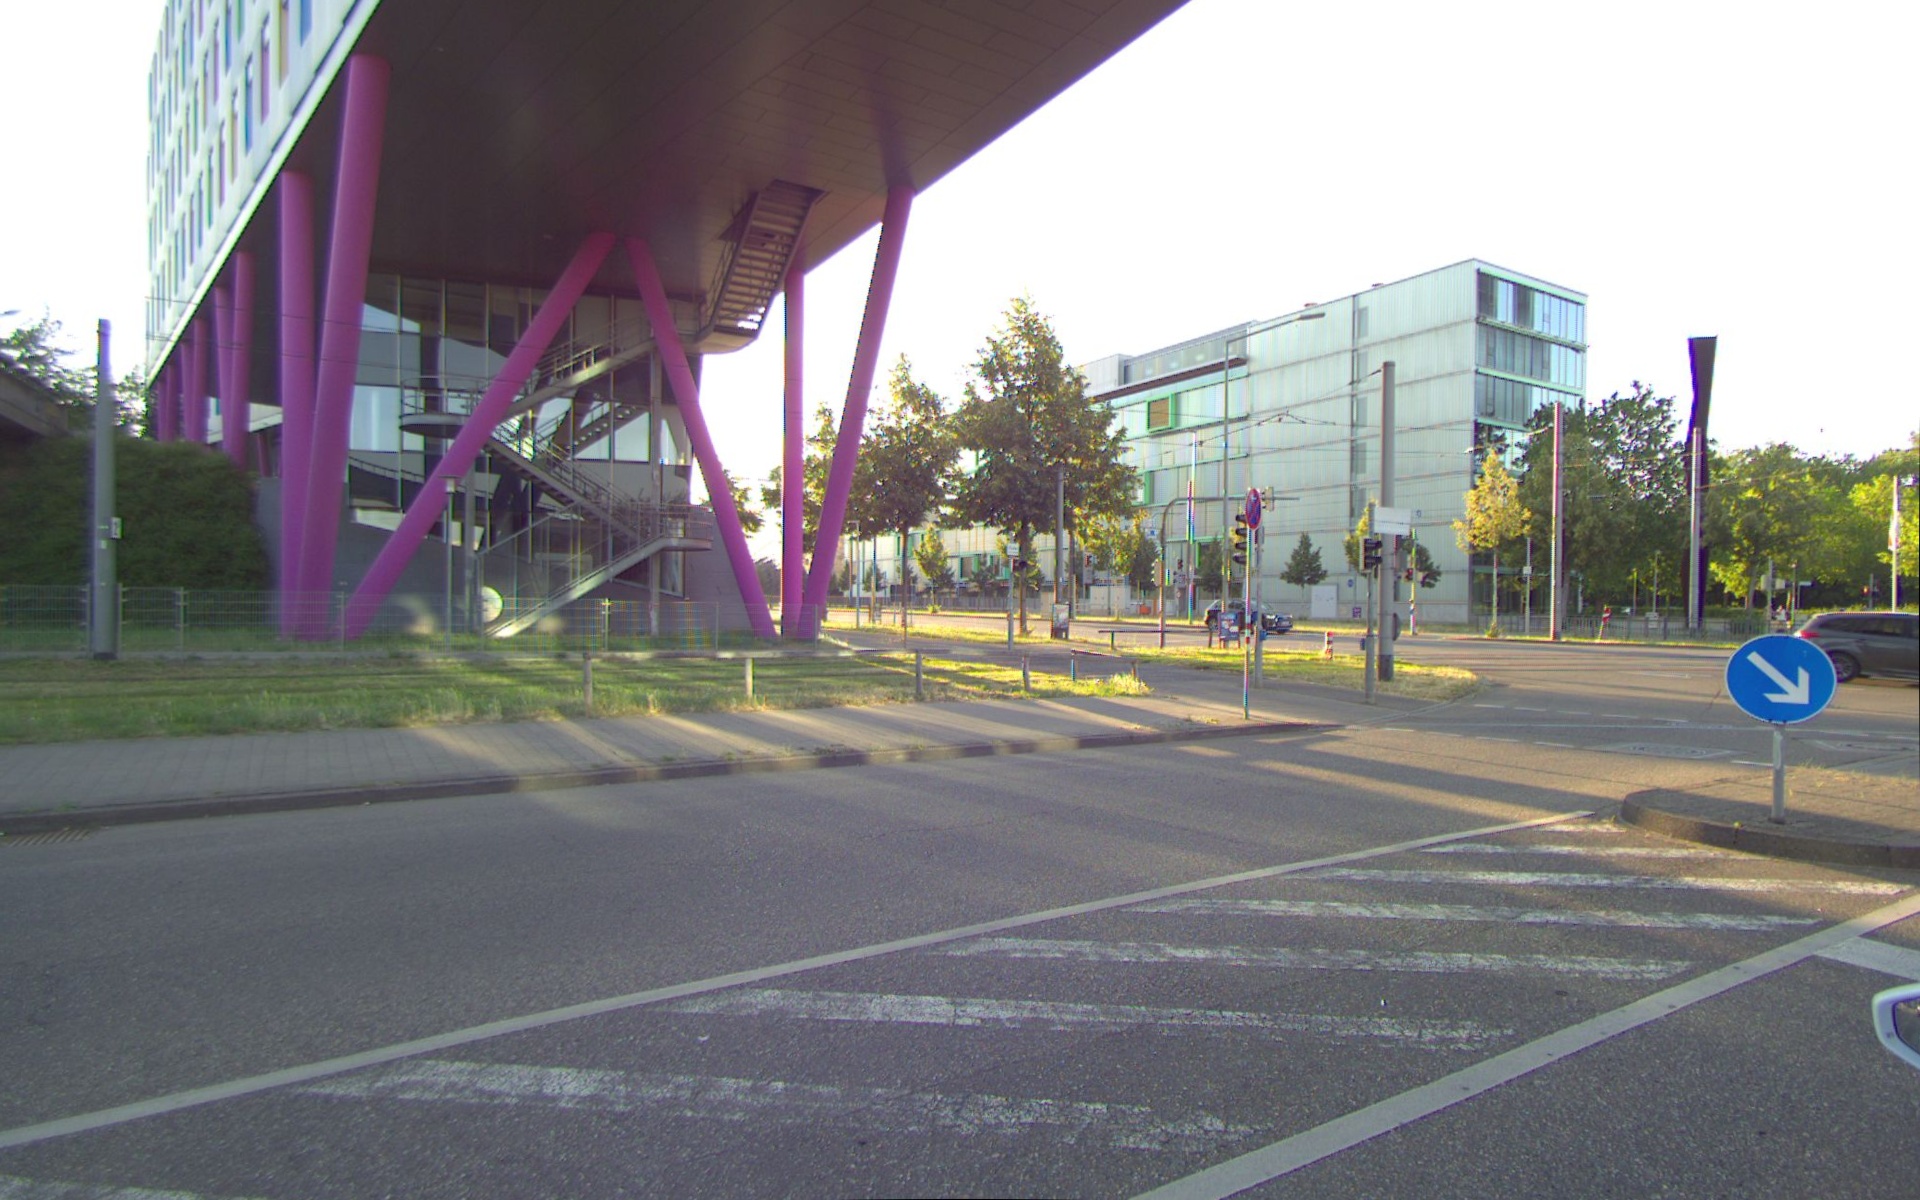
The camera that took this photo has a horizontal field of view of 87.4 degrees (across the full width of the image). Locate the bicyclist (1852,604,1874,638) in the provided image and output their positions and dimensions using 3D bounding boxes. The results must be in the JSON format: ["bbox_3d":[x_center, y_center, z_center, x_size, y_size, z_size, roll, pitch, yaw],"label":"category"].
[{"bbox_3d":[46.998,1.068,52.273,0.913,1.732,0.743,1,0,-43],"label":"bicyclist"}]

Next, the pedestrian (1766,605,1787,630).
[{"bbox_3d":[58.272,1.245,71.705,0.813,1.767,0.863,1,0,3],"label":"pedestrian"}]

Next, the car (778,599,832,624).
[{"bbox_3d":[-10.851,0.796,70.194,1.978,1.636,4.880,1,0,-32],"label":"car"}]

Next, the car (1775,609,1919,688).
[{"bbox_3d":[20.068,1.000,20.494,1.966,1.531,4.981,1,0,-31],"label":"car"}]

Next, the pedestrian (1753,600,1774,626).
[{"bbox_3d":[57.373,0.923,71.726,0.814,1.767,0.863,1,0,0],"label":"pedestrian"}]

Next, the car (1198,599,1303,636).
[{"bbox_3d":[13.298,0.793,46.201,1.968,1.577,4.448,1,0,-34],"label":"car"}]

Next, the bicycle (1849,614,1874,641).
[{"bbox_3d":[46.953,1.406,52.280,2.671,1.359,0.723,1,0,-43],"label":"bicycle"}]

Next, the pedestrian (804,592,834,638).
[{"bbox_3d":[-5.441,0.573,38.695,0.921,1.747,0.877,1,-2,-27],"label":"pedestrian"}]

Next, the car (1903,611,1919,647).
[{"bbox_3d":[42.335,1.265,41.674,1.782,1.516,4.314,2,-1,-28],"label":"car"}]
